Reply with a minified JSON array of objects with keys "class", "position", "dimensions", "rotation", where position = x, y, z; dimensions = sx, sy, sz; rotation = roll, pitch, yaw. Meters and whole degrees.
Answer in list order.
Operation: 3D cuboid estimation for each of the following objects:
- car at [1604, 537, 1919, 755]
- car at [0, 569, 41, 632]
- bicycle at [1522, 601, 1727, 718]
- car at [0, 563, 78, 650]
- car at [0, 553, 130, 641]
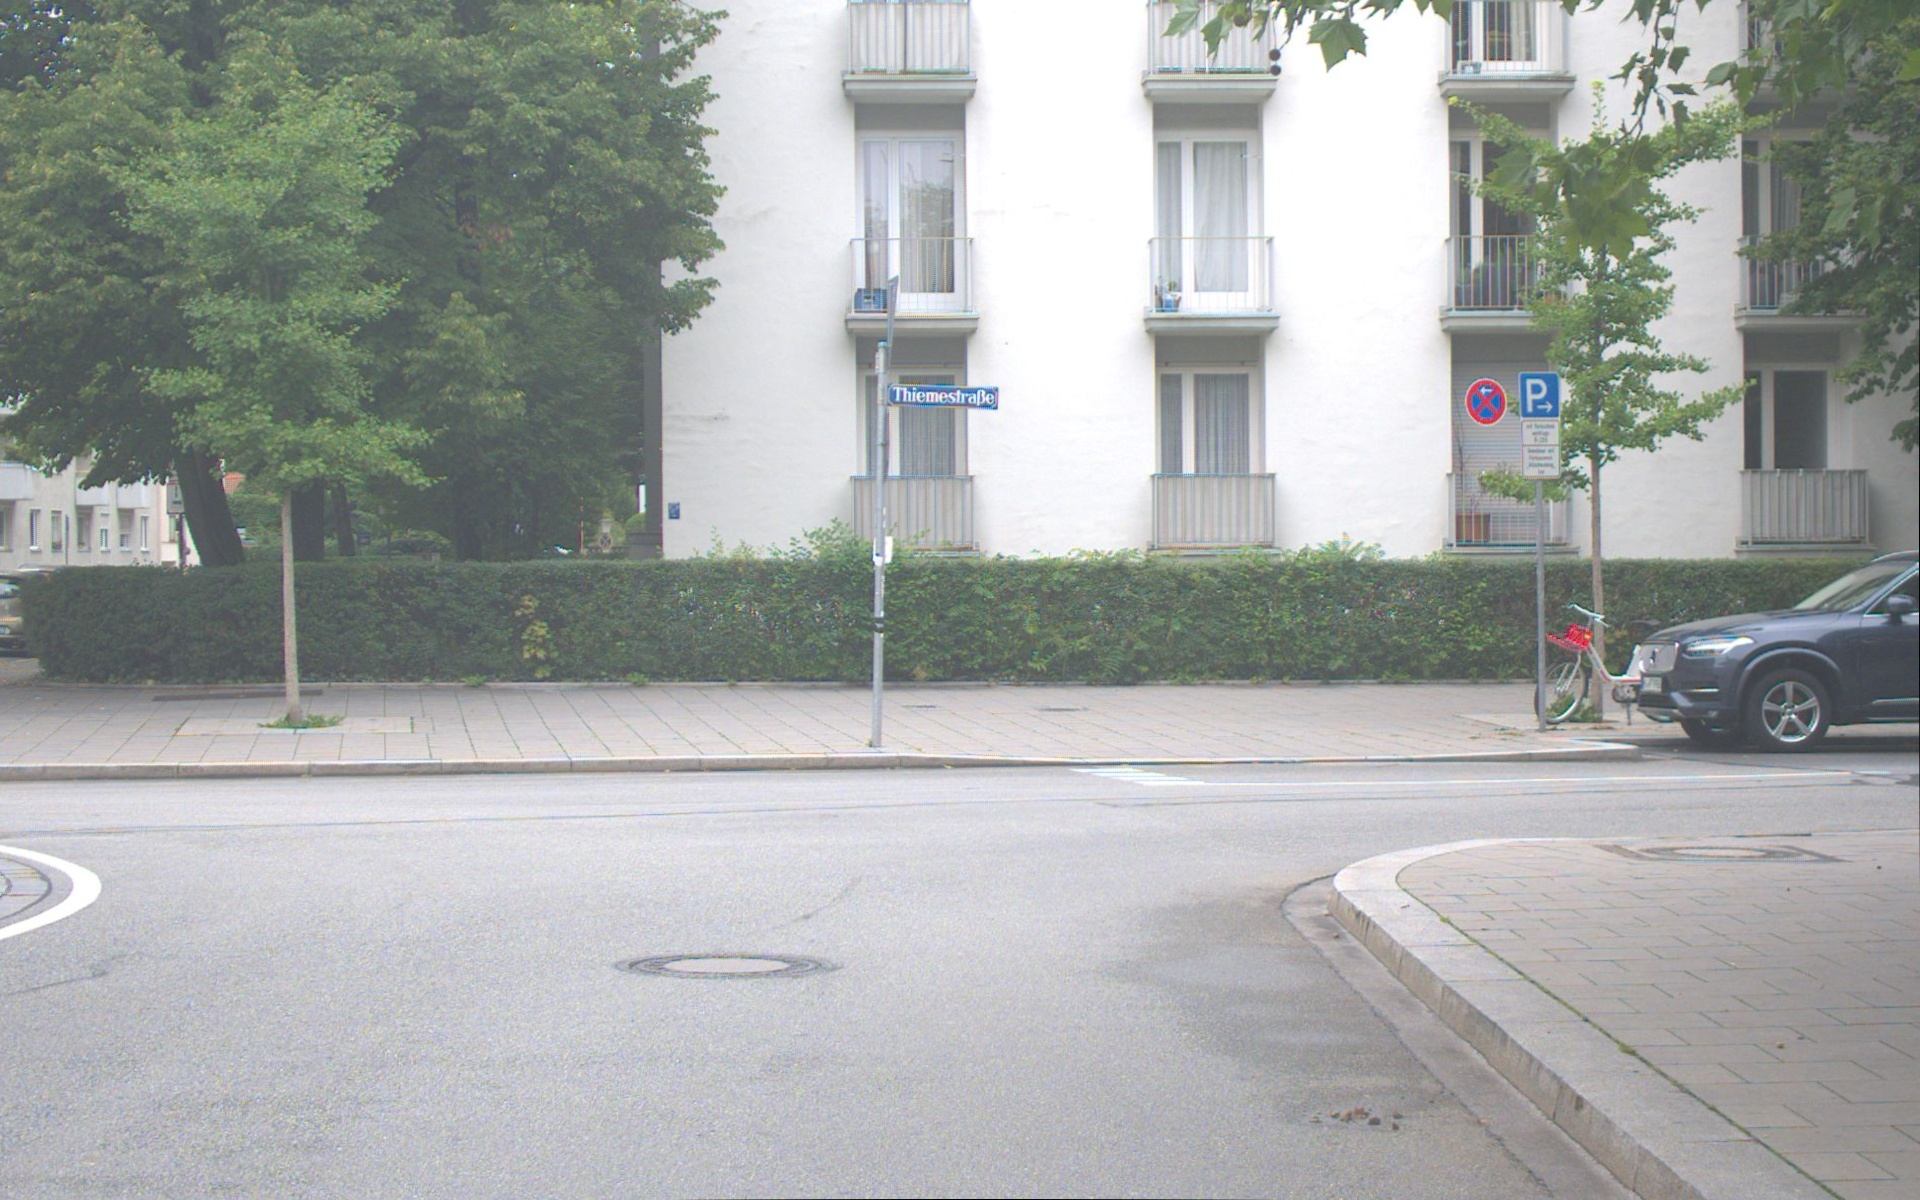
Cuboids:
[{"class":"car","position":[8.218,0.375,29.523],"dimensions":[4.896,1.786,2.000],"rotation":[0,0,-8]},{"class":"car","position":[-25.449,-0.005,89.464],"dimensions":[1.975,1.575,4.408],"rotation":[0,1,-1]},{"class":"bicycle","position":[6.158,0.545,31.852],"dimensions":[1.824,1.045,0.492],"rotation":[-1,1,-14]},{"class":"car","position":[-17.437,0.108,63.052],"dimensions":[1.835,1.500,4.116],"rotation":[-2,1,-6]},{"class":"car","position":[-17.700,-0.083,67.657],"dimensions":[1.835,1.629,4.116],"rotation":[-2,1,-2]}]
